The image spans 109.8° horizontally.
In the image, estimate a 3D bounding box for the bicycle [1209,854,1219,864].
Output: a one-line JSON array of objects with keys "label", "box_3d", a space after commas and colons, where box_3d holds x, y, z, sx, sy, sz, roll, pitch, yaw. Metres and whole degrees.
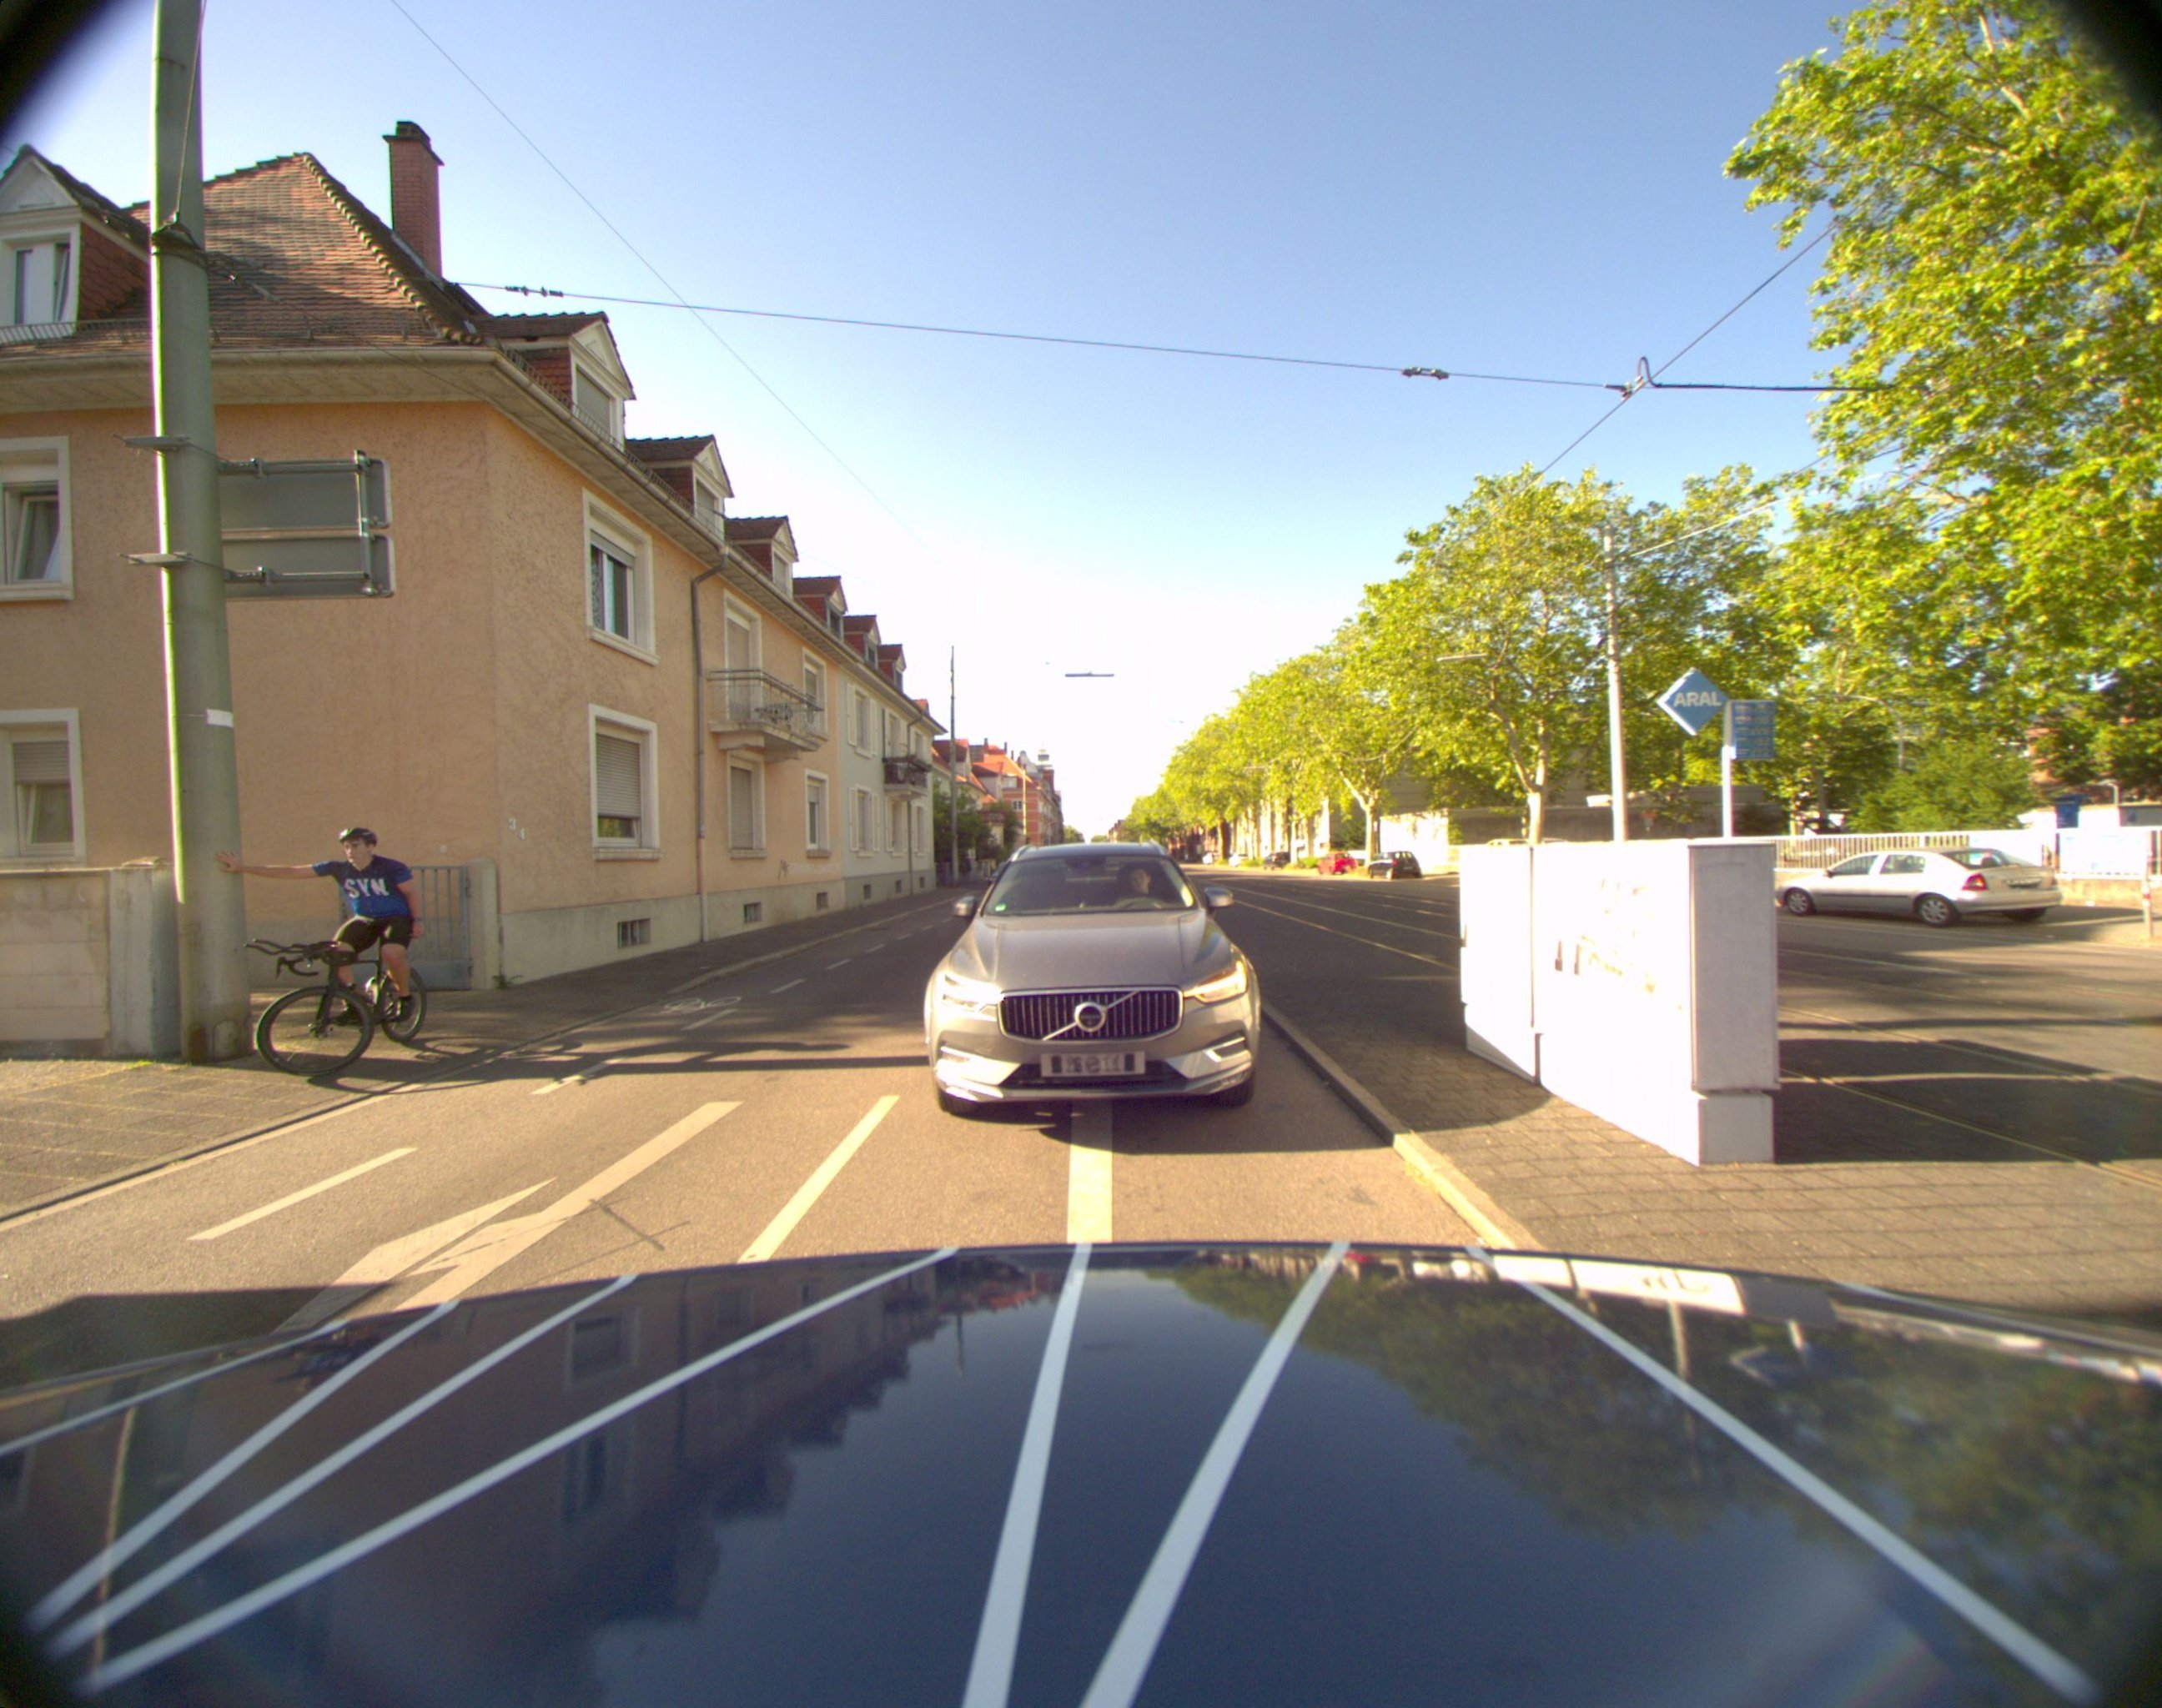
[{"label": "bicycle", "box_3d": [15.140, 0.580, 86.671, 0.654, 1.114, 2.533, -1, 0, 1]}]

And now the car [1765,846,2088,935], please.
[{"label": "car", "box_3d": [16.241, 0.615, 14.977, 1.846, 1.400, 3.999, -4, 0, -1]}]

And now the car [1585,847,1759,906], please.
[{"label": "car", "box_3d": [16.523, 0.566, 21.550, 1.845, 1.400, 4.138, -4, 0, 4]}]

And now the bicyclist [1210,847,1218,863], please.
[{"label": "bicyclist", "box_3d": [15.121, 0.093, 86.610, 0.720, 1.853, 1.071, -1, 1, 0]}]

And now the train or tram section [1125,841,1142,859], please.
[{"label": "train or tram section", "box_3d": [10.496, -0.863, 152.726, 2.862, 3.456, 10.183, -1, 0, 1]}]

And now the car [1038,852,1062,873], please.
[{"label": "car", "box_3d": [-2.666, 0.695, 65.771, 1.847, 1.681, 4.000, -1, 0, 0]}]

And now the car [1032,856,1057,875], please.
[{"label": "car", "box_3d": [-2.870, 0.860, 60.407, 1.808, 1.402, 3.999, -1, 0, -1]}]

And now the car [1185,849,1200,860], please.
[{"label": "car", "box_3d": [18.381, -0.006, 125.410, 1.845, 1.664, 4.098, -4, 0, 3]}]

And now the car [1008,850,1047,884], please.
[{"label": "car", "box_3d": [-2.911, 0.684, 42.359, 1.847, 1.742, 4.144, -1, 0, 0]}]

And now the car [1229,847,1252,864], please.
[{"label": "car", "box_3d": [17.500, 0.118, 83.544, 1.845, 1.664, 4.098, -4, 0, 3]}]

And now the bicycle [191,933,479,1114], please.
[{"label": "bicycle", "box_3d": [-5.923, 1.281, 6.197, 0.594, 1.045, 1.719, 4, 1, 1]}]

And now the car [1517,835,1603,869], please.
[{"label": "car", "box_3d": [24.050, -0.112, 38.337, 1.845, 1.524, 4.000, -4, 0, 2]}]

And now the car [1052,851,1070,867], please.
[{"label": "car", "box_3d": [-2.233, 0.551, 85.485, 1.999, 1.641, 4.658, -1, 0, -1]}]

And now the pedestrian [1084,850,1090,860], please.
[{"label": "pedestrian", "box_3d": [1.125, 0.196, 151.899, 1.104, 2.002, 1.242, -2, 1, 1]}]

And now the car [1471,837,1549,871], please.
[{"label": "car", "box_3d": [21.756, -0.028, 38.714, 1.845, 1.524, 4.001, -4, 0, 4]}]

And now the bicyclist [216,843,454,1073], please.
[{"label": "bicyclist", "box_3d": [-6.166, 0.809, 6.346, 1.071, 1.728, 0.853, 4, 1, 1]}]

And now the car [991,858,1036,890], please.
[{"label": "car", "box_3d": [-3.222, 0.945, 36.978, 1.847, 1.412, 3.999, -1, 0, -1]}]

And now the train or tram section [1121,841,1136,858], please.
[{"label": "train or tram section", "box_3d": [10.866, -1.053, 173.066, 2.843, 3.456, 10.182, -2, 1, 1]}]

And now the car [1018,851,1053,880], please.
[{"label": "car", "box_3d": [-2.757, 0.653, 46.742, 1.847, 1.681, 4.000, -1, 0, 0]}]

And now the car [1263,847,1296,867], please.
[{"label": "car", "box_3d": [17.177, 0.224, 65.896, 1.845, 1.607, 4.098, -4, 0, 3]}]

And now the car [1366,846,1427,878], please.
[{"label": "car", "box_3d": [16.974, 0.408, 41.087, 1.845, 1.524, 4.001, -4, 0, 4]}]

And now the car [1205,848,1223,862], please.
[{"label": "car", "box_3d": [17.606, 0.077, 100.906, 1.845, 1.664, 4.098, -4, 0, 3]}]

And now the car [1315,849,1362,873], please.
[{"label": "car", "box_3d": [16.969, 0.445, 50.311, 1.845, 1.400, 4.001, -4, 0, 3]}]

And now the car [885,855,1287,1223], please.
[{"label": "car", "box_3d": [0.006, 0.887, 5.789, 1.892, 1.695, 4.318, -1, 0, -1]}]
